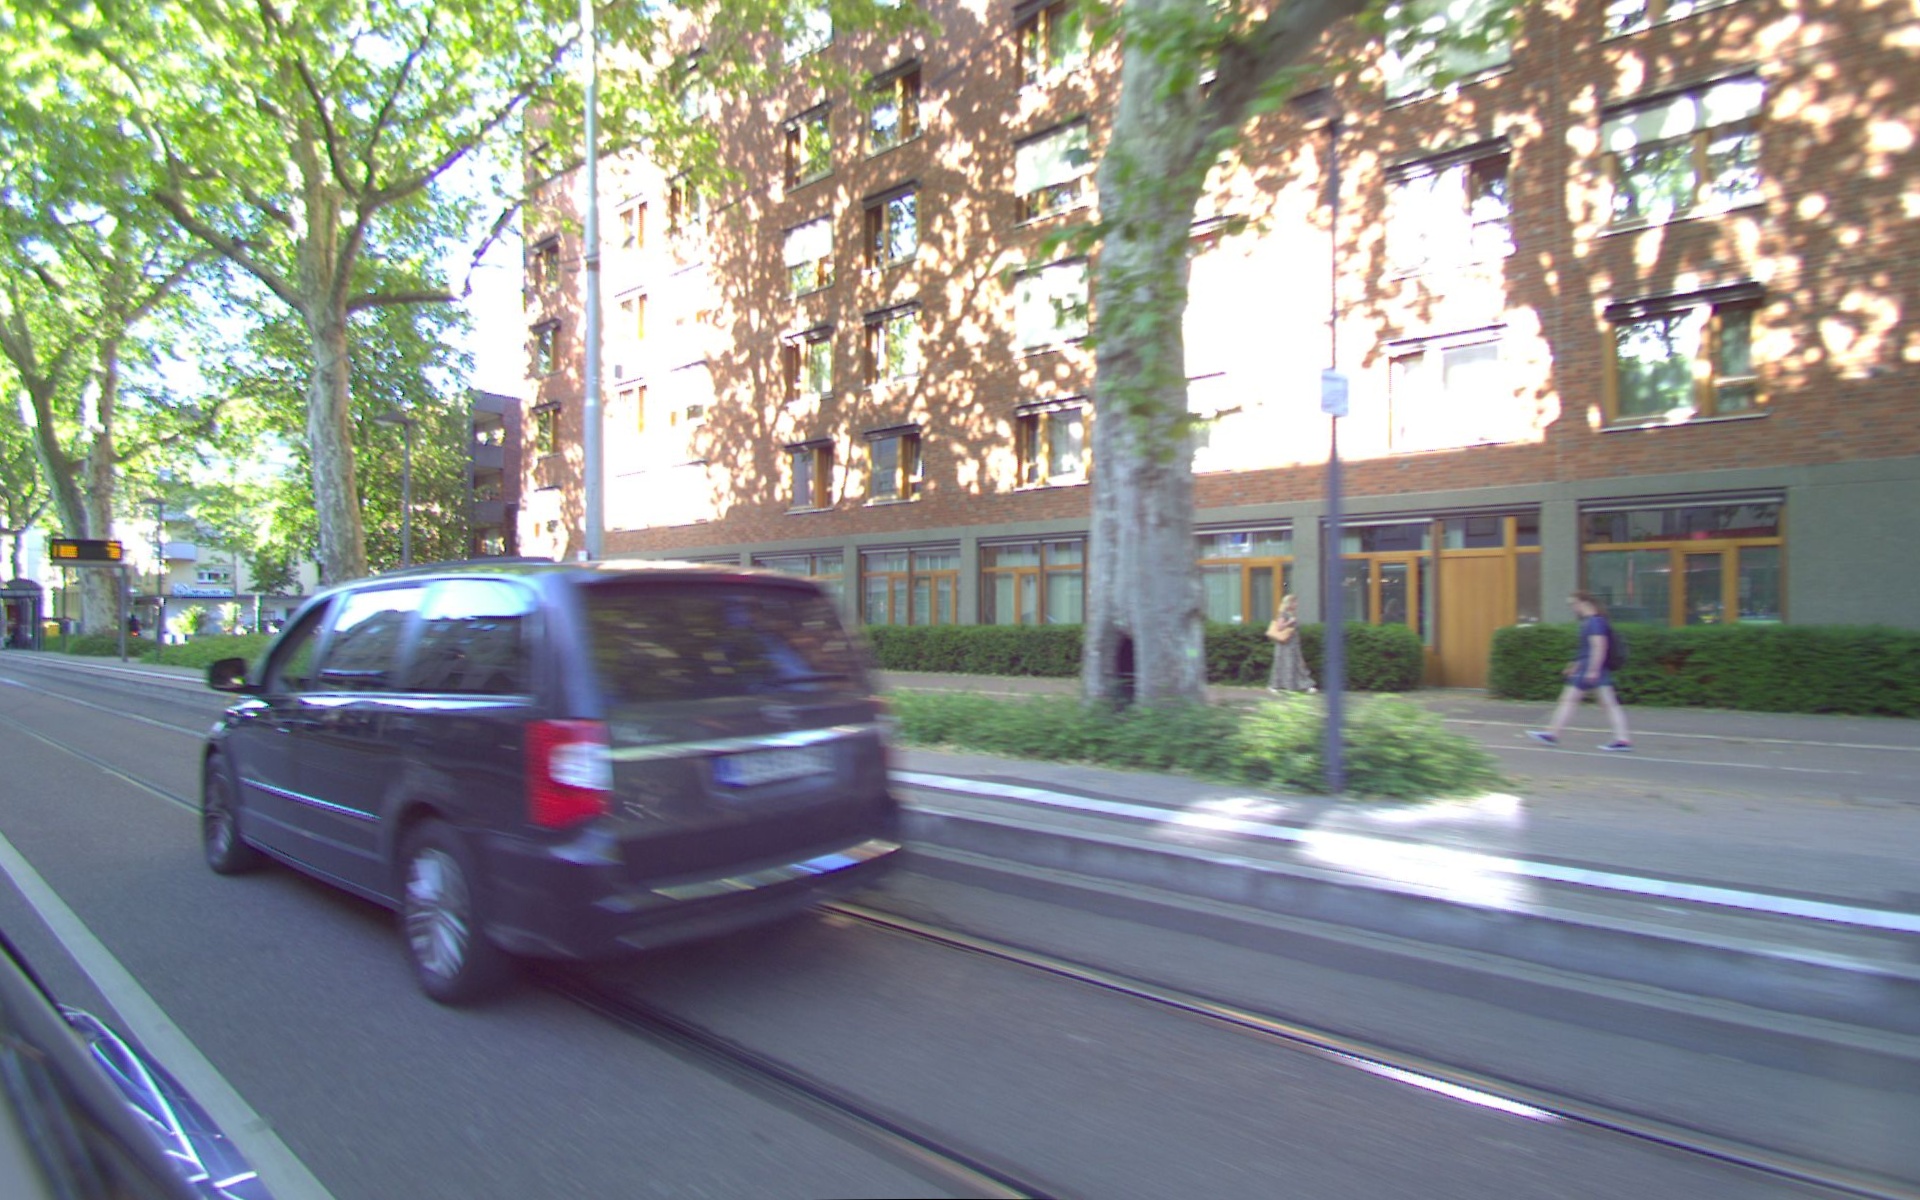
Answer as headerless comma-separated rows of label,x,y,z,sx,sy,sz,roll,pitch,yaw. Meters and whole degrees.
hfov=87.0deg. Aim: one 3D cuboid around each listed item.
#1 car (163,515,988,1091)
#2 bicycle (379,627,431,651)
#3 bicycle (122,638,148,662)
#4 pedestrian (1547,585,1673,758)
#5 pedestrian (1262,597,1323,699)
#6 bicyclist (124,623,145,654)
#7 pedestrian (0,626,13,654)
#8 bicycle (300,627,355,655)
car,-2.462,0.632,5.480,5.140,1.729,1.973,-1,0,41
bicycle,-26.310,1.837,48.000,2.012,1.102,0.821,-1,0,3
bicycle,-41.649,2.521,51.077,2.039,1.102,0.739,-1,0,43
pedestrian,6.687,0.696,10.414,0.968,1.685,0.730,-1,0,42
pedestrian,5.328,0.752,16.194,0.715,1.585,0.657,-1,0,41
bicyclist,-41.668,1.922,51.088,0.892,1.526,0.725,-1,0,43
pedestrian,-41.301,1.730,43.594,0.473,1.213,0.699,-1,0,42
bicycle,-28.554,1.844,45.681,2.067,1.198,0.883,-1,0,-33
